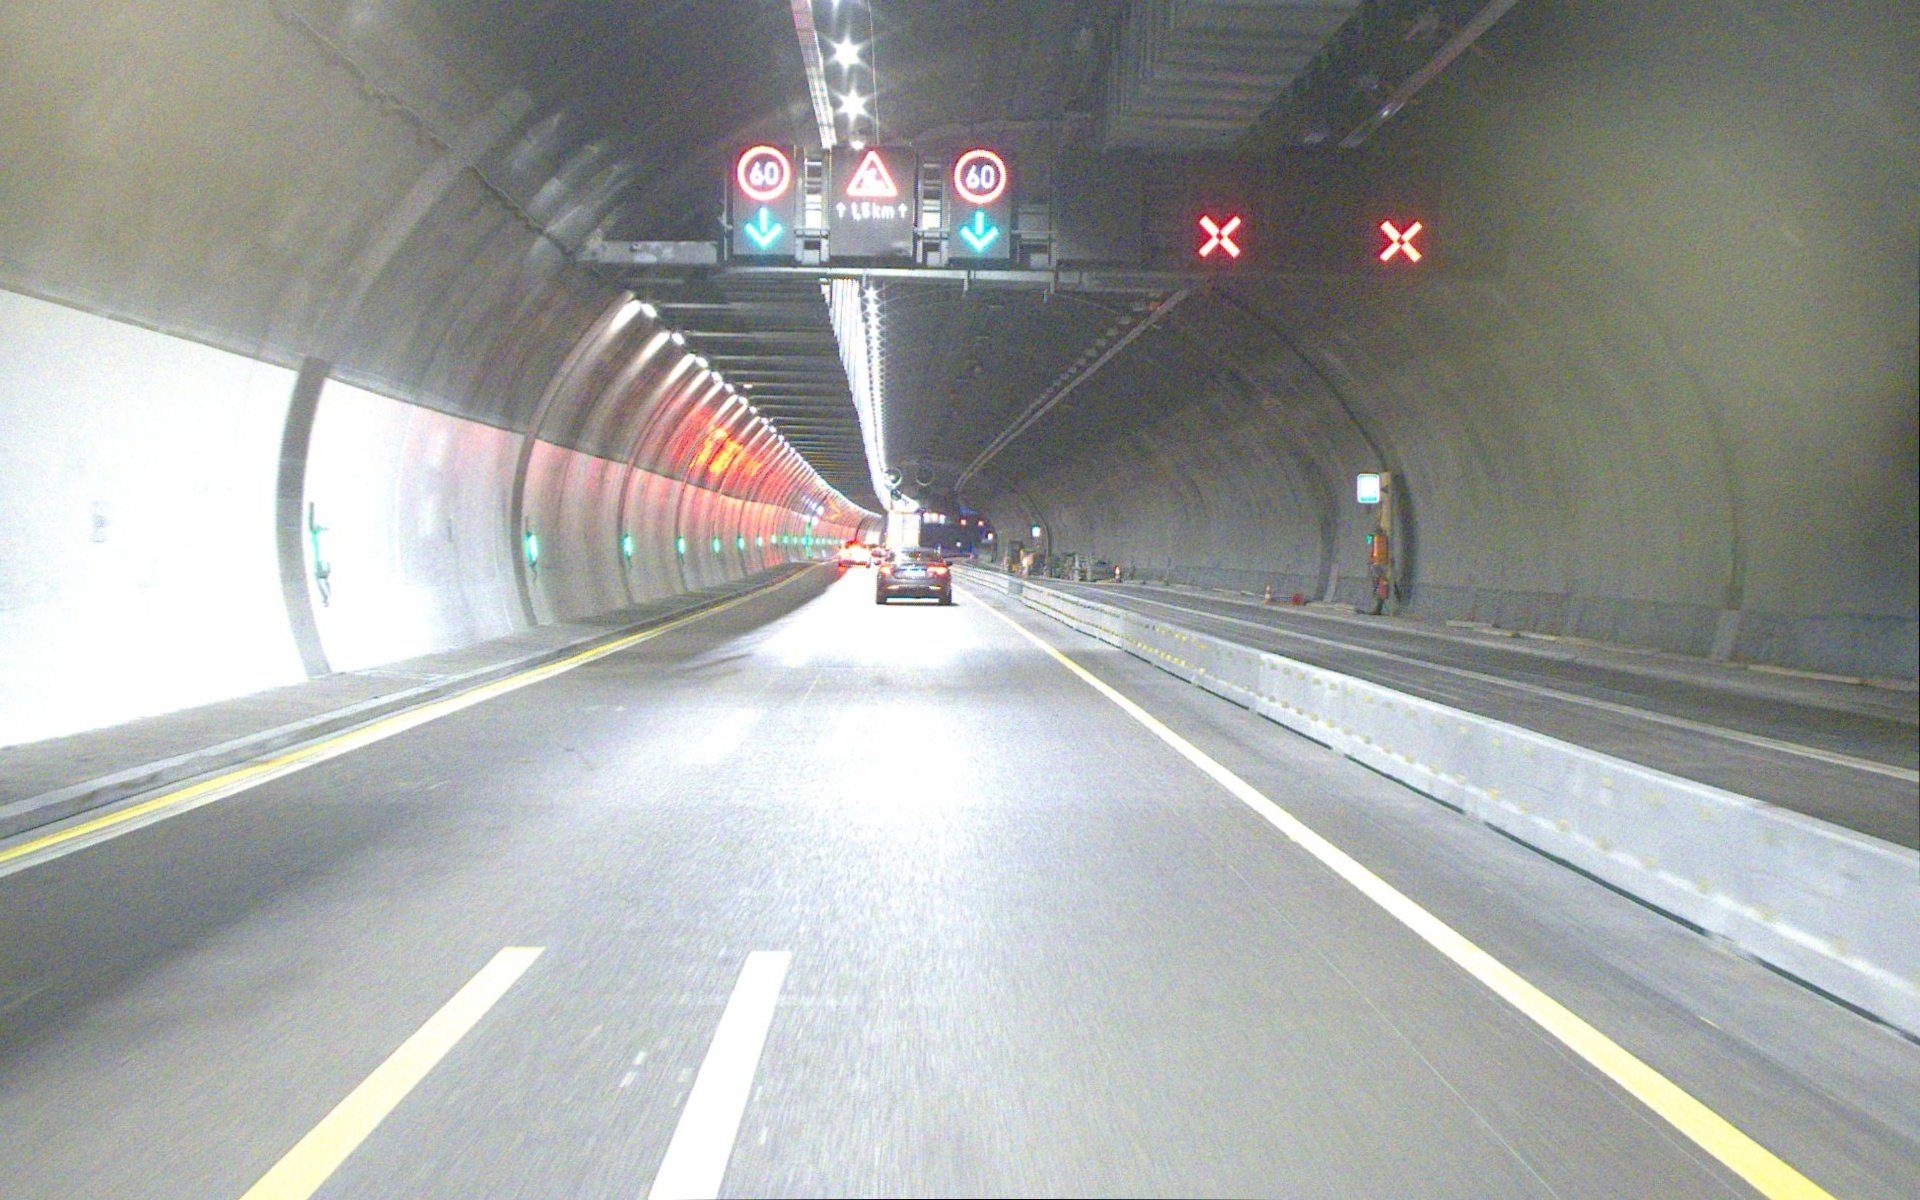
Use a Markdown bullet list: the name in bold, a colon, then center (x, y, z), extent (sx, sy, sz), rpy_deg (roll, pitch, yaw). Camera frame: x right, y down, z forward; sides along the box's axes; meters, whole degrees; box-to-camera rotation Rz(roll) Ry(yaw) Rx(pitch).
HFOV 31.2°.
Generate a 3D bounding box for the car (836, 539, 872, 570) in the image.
- **car**: center (-5.993, -2.583, 194.249), extent (1.930, 1.681, 4.000), rpy_deg (1, 1, -1)

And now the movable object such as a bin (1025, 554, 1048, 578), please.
- **movable object such as a bin**: center (4.707, -2.092, 211.587), extent (1.234, 1.437, 2.217), rpy_deg (3, 1, -2)

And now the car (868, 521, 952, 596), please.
- **car**: center (-1.275, -1.051, 86.222), extent (1.946, 1.788, 4.001), rpy_deg (1, 1, -2)
